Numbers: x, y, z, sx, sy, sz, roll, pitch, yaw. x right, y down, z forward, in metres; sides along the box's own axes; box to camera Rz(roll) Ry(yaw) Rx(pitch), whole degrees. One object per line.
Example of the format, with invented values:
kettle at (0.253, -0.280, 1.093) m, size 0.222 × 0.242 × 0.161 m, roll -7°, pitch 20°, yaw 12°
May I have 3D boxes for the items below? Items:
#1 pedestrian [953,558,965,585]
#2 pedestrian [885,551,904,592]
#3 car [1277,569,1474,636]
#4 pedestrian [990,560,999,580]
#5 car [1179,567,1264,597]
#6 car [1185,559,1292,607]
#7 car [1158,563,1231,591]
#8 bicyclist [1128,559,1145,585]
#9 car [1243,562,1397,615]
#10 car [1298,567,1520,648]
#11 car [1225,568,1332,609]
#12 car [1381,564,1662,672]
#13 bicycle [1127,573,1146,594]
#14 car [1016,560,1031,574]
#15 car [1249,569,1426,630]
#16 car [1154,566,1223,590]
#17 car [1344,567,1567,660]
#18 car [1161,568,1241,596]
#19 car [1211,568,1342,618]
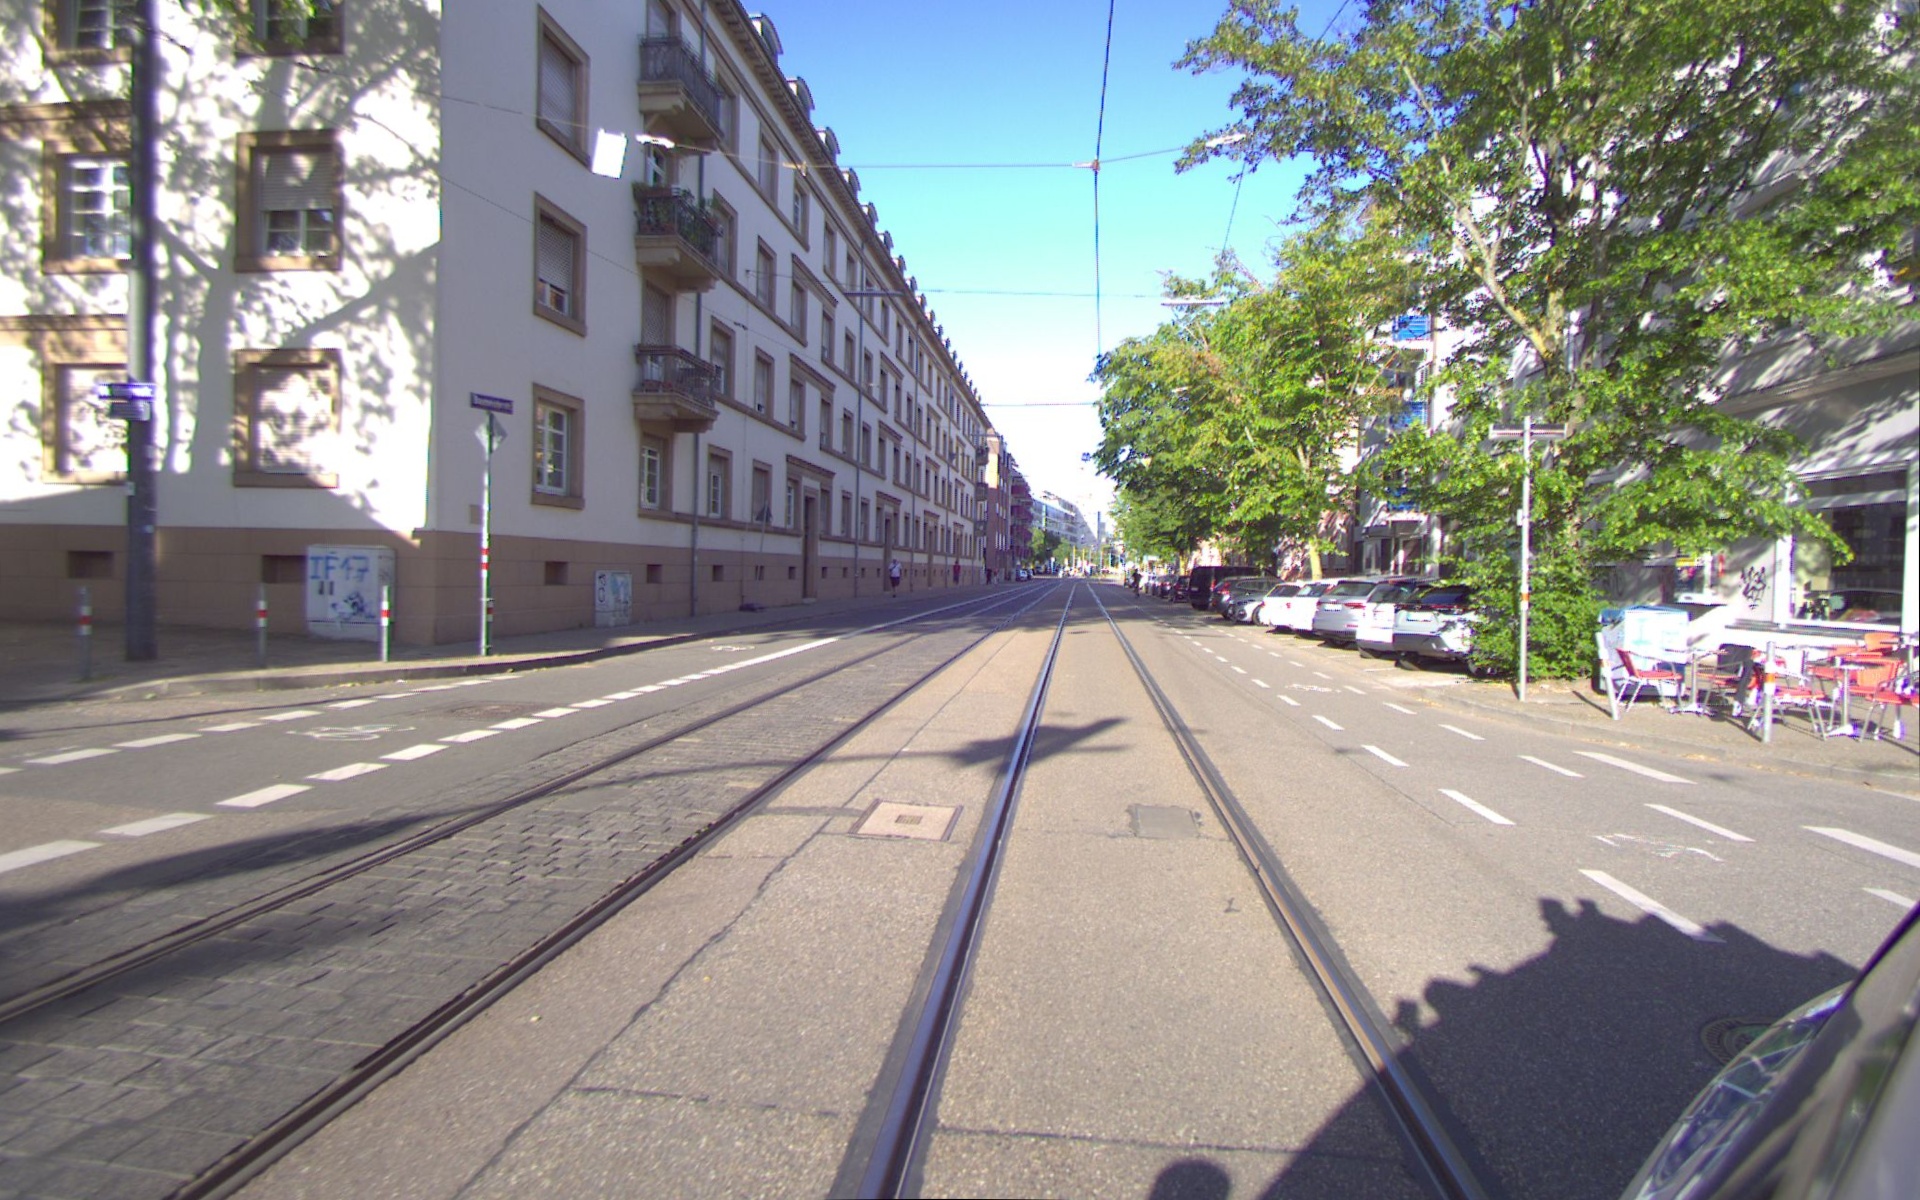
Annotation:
pedestrian at (-0.089, -1.981, 70.231) m, size 0.725 × 1.860 × 0.695 m, roll 2°, pitch 2°, yaw 6°
pedestrian at (-3.025, -1.309, 46.844) m, size 0.725 × 1.860 × 0.695 m, roll 2°, pitch 2°, yaw 6°
car at (9.944, 0.020, 24.353) m, size 4.052 × 1.506 × 1.623 m, roll 0°, pitch 3°, yaw -6°
pedestrian at (3.278, -2.803, 95.901) m, size 0.725 × 1.860 × 0.695 m, roll 2°, pitch 2°, yaw 6°
car at (13.590, -0.943, 52.710) m, size 4.065 × 1.506 × 1.618 m, roll 1°, pitch 3°, yaw 8°
car at (11.700, -0.744, 42.468) m, size 4.050 × 1.910 × 1.893 m, roll -1°, pitch 3°, yaw -25°
car at (14.517, -1.424, 62.801) m, size 4.051 × 1.682 × 1.623 m, roll 0°, pitch 3°, yaw -8°
bicyclist at (10.469, -1.649, 59.938) m, size 0.886 × 1.471 × 1.261 m, roll 2°, pitch 2°, yaw 7°
car at (10.829, -0.369, 30.642) m, size 4.059 × 1.506 × 1.620 m, roll 0°, pitch 3°, yaw 2°
car at (9.435, 0.106, 21.364) m, size 4.049 × 1.574 × 1.624 m, roll -1°, pitch 3°, yaw -12°
car at (12.720, -0.488, 40.380) m, size 4.050 × 1.506 × 1.624 m, roll -1°, pitch 3°, yaw -25°
car at (9.170, 0.228, 16.589) m, size 4.049 × 1.574 × 1.624 m, roll -1°, pitch 3°, yaw -16°
bicycle at (10.448, -1.006, 59.963) m, size 0.886 × 1.179 × 3.243 m, roll 2°, pitch 2°, yaw 7°
car at (8.344, -4.262, 132.056) m, size 1.856 × 1.705 × 4.388 m, roll 1°, pitch 1°, yaw 4°
car at (9.913, -0.033, 26.711) m, size 4.052 × 1.506 × 1.623 m, roll 0°, pitch 3°, yaw -7°
car at (14.880, -1.458, 66.092) m, size 4.051 × 1.506 × 1.623 m, roll 0°, pitch 3°, yaw -8°
car at (9.502, 0.183, 19.396) m, size 4.050 × 1.574 × 1.624 m, roll -1°, pitch 3°, yaw -25°
car at (13.526, -1.034, 56.888) m, size 4.051 × 1.506 × 1.623 m, roll 0°, pitch 3°, yaw -8°
car at (10.407, -0.279, 33.263) m, size 4.050 × 1.506 × 1.624 m, roll -1°, pitch 3°, yaw -25°
